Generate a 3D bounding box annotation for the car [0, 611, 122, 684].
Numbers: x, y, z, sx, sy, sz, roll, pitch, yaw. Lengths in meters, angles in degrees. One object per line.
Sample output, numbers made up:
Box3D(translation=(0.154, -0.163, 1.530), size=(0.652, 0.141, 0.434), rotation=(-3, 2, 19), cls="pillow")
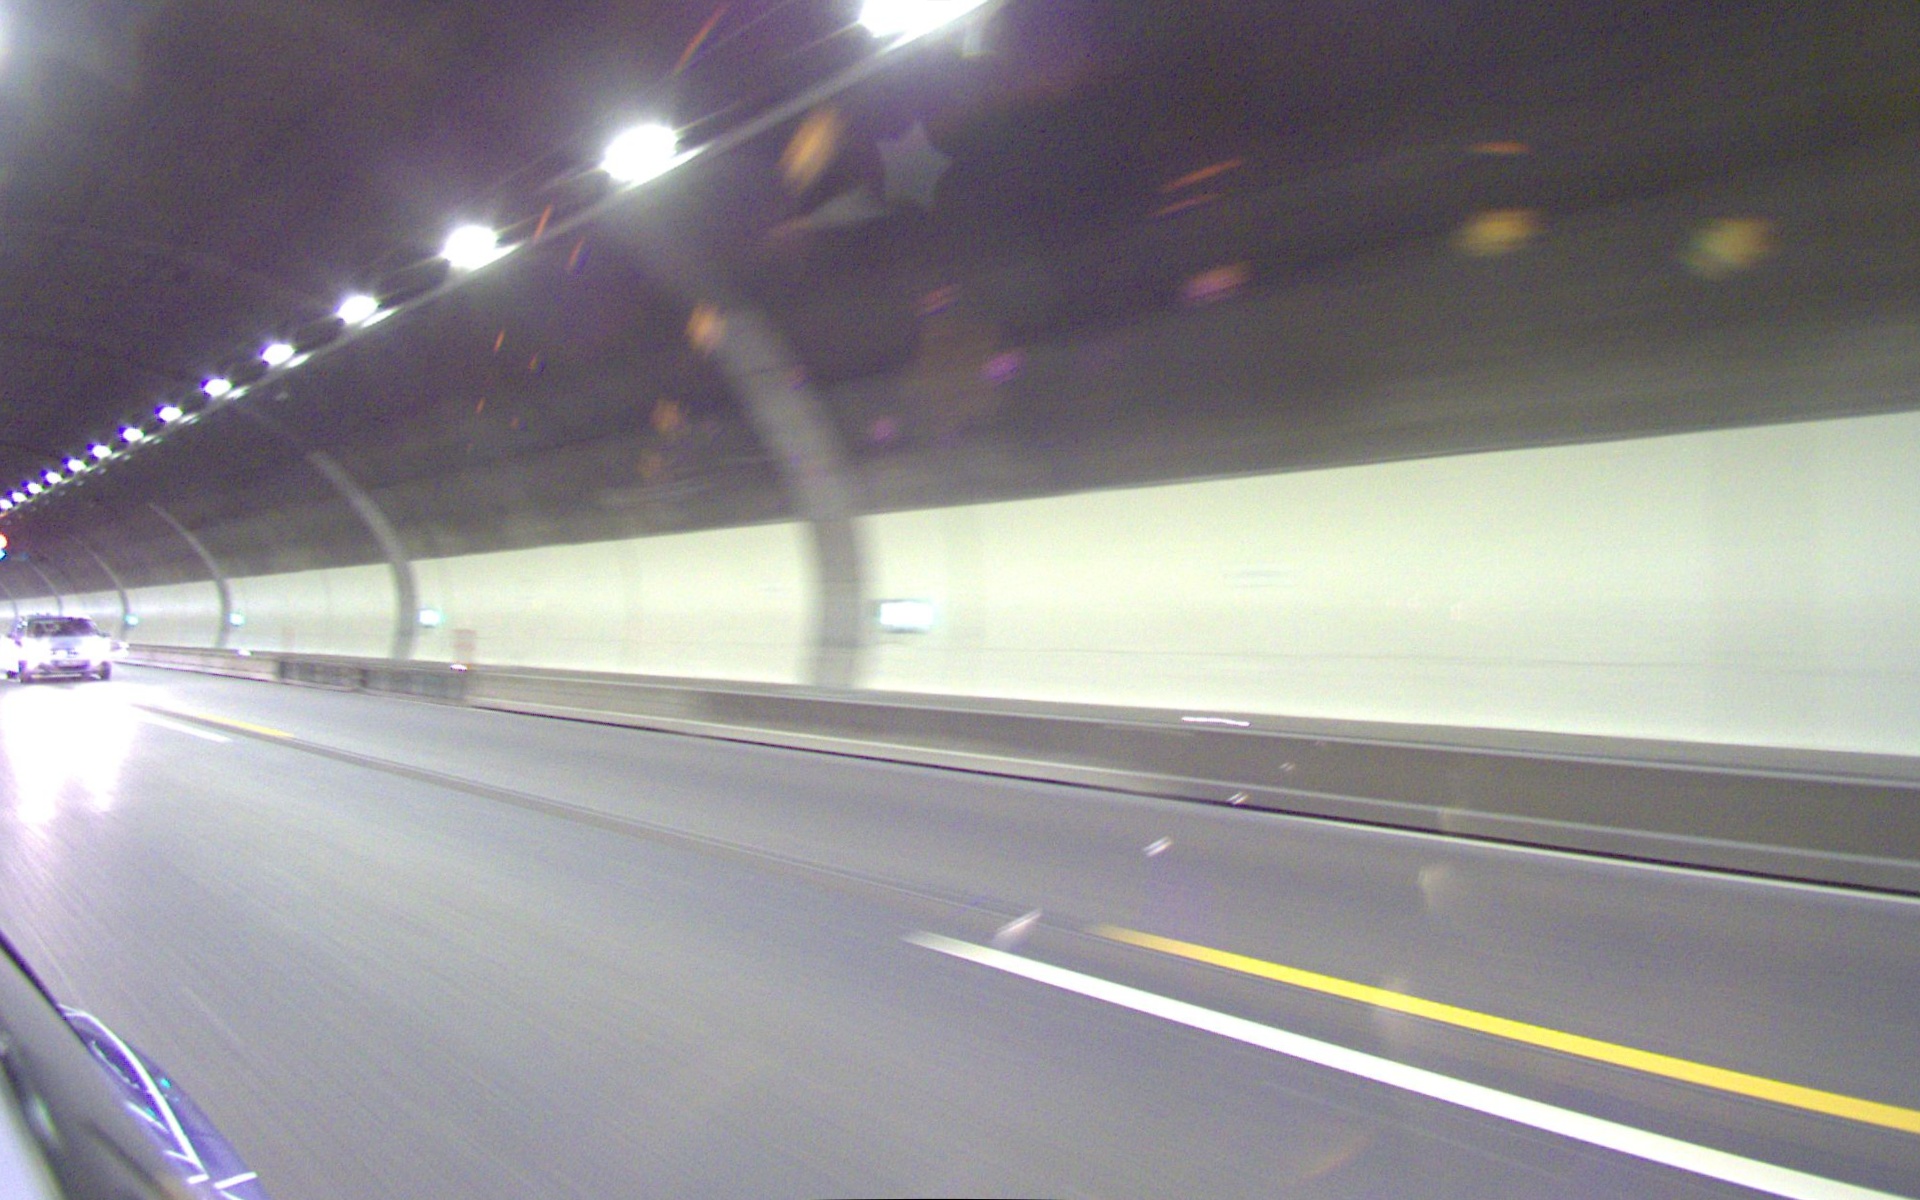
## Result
Box3D(translation=(-21.822, 1.074, 24.396), size=(4.093, 1.584, 1.744), rotation=(-1, 0, 39), cls="car")
